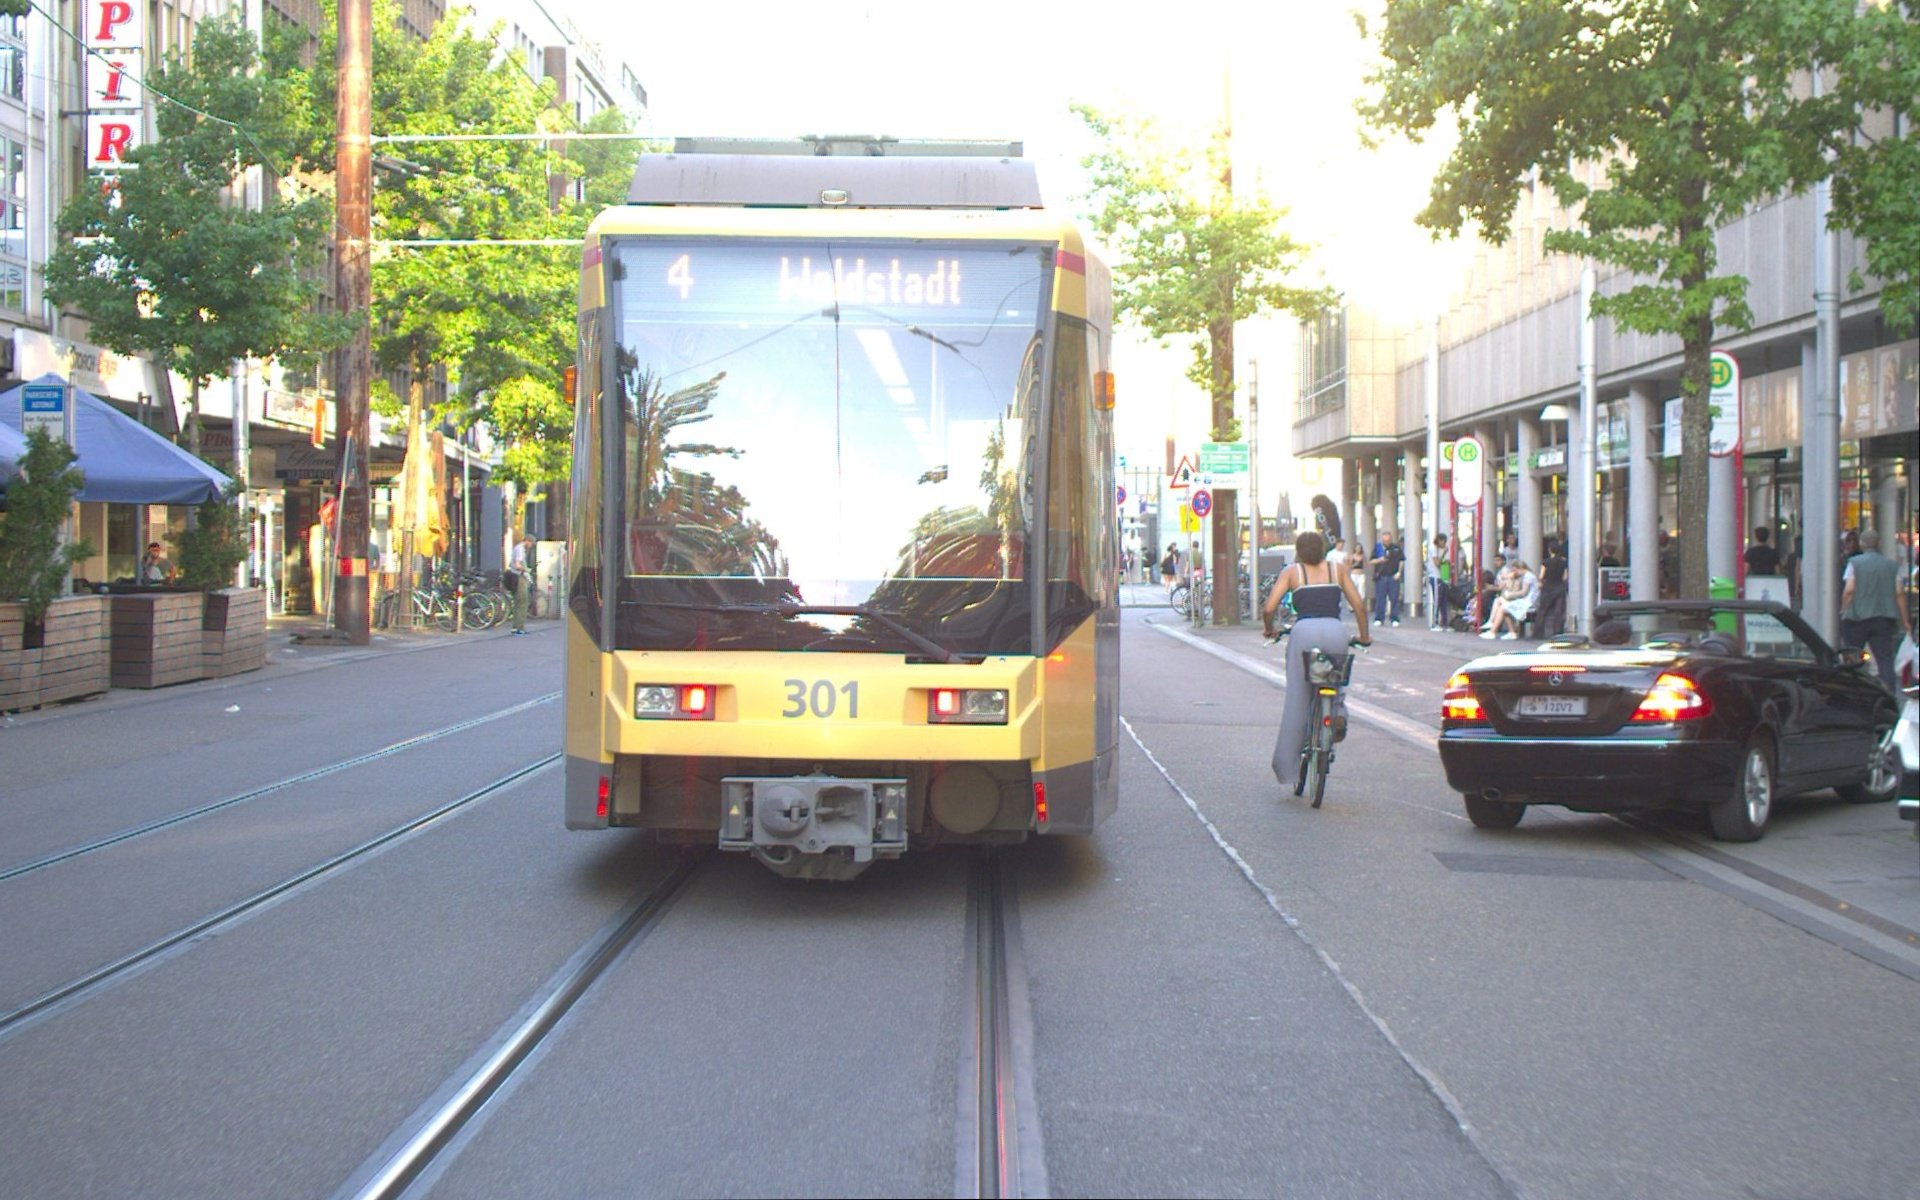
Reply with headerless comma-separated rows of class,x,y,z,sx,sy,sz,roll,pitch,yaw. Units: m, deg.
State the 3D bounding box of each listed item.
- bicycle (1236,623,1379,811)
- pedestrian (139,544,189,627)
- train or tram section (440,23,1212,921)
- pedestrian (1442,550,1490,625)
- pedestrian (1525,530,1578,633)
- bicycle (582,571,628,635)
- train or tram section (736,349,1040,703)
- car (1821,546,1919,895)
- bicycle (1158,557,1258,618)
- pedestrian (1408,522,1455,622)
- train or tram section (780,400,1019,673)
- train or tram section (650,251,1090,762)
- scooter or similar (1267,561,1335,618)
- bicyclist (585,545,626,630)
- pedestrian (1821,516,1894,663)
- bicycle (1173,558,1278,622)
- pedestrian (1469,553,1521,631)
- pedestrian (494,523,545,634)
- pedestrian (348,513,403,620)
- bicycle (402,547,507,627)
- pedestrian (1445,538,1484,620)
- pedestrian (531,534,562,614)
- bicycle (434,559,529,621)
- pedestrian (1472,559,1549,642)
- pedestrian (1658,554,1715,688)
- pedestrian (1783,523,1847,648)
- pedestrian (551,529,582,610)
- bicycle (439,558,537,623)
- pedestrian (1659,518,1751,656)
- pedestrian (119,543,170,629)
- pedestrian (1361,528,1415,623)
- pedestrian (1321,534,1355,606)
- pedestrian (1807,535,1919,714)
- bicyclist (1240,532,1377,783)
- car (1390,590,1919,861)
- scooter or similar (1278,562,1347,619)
bicycle,2.162,0.707,21.607,0.656,1.057,2.057,2,1,0
pedestrian,-12.824,-0.232,55.409,0.574,1.315,0.725,3,0,1
train or tram section,-0.572,-0.548,18.702,3.016,3.511,10.371,0,0,0
pedestrian,9.173,-0.236,62.342,0.739,1.323,0.720,-2,2,1
pedestrian,9.511,-0.304,55.305,0.701,1.632,0.646,-2,2,1
bicycle,-5.949,0.041,57.627,0.641,1.019,1.589,2,1,-2
train or tram section,-0.762,-0.803,39.726,3.003,3.511,10.845,0,1,0
car,6.502,0.479,16.985,4.194,1.632,1.921,-3,2,-31
bicycle,6.068,-0.306,84.234,2.328,1.466,0.791,1,0,-3
pedestrian,8.522,-0.502,62.103,0.749,1.776,0.891,1,0,4
train or tram section,-0.839,-0.896,50.404,3.044,3.511,10.531,1,1,-1
train or tram section,-0.671,-0.713,29.087,3.007,3.511,10.402,1,1,0
scooter or similar,7.499,-0.237,75.584,1.379,1.246,0.556,-1,0,-7
bicyclist,-5.946,-0.208,57.695,0.620,1.411,0.700,1,0,-2
pedestrian,10.078,-0.129,38.619,0.596,1.610,0.755,-2,2,1
bicycle,6.188,-0.233,80.141,2.328,1.466,0.791,1,0,-3
pedestrian,9.418,-0.140,60.533,0.806,1.323,0.626,-2,2,1
pedestrian,-7.641,-0.371,59.661,0.750,1.873,0.576,3,0,-4
pedestrian,-11.105,-0.640,65.359,0.849,2.007,0.921,1,0,0
bicycle,-9.195,-0.240,62.541,1.796,1.355,0.660,3,0,-12
pedestrian,10.623,-0.440,72.377,0.701,1.678,0.680,-2,2,1
pedestrian,-8.884,-0.556,73.840,0.573,1.681,0.553,3,0,-9
bicycle,-9.286,-0.195,66.729,1.733,1.122,0.563,3,0,-3
pedestrian,9.086,-0.004,56.769,1.112,1.323,0.926,-2,1,1
pedestrian,10.178,0.289,48.199,0.596,1.833,0.829,-2,2,1
pedestrian,11.241,-0.195,45.211,0.596,1.610,0.829,-2,2,1
pedestrian,-8.363,-0.646,73.130,0.551,1.681,0.576,3,0,-4
bicycle,-8.823,-0.182,64.304,1.733,1.122,0.613,3,0,-6
pedestrian,10.399,-0.193,48.036,1.053,1.870,0.929,-2,2,1
pedestrian,-12.837,-0.223,54.127,0.574,1.315,0.725,3,0,1
pedestrian,8.124,-0.462,65.313,0.888,1.776,0.751,1,0,-1
pedestrian,9.020,-0.712,82.145,0.701,1.678,0.680,-2,2,1
pedestrian,8.284,0.215,31.345,0.877,1.576,0.755,2,2,0
bicyclist,2.178,0.353,21.547,0.726,1.521,0.733,2,0,0
car,4.307,0.662,20.643,1.805,1.344,4.438,1,1,31
scooter or similar,7.662,-0.205,74.691,1.379,1.206,0.516,-1,0,-13
